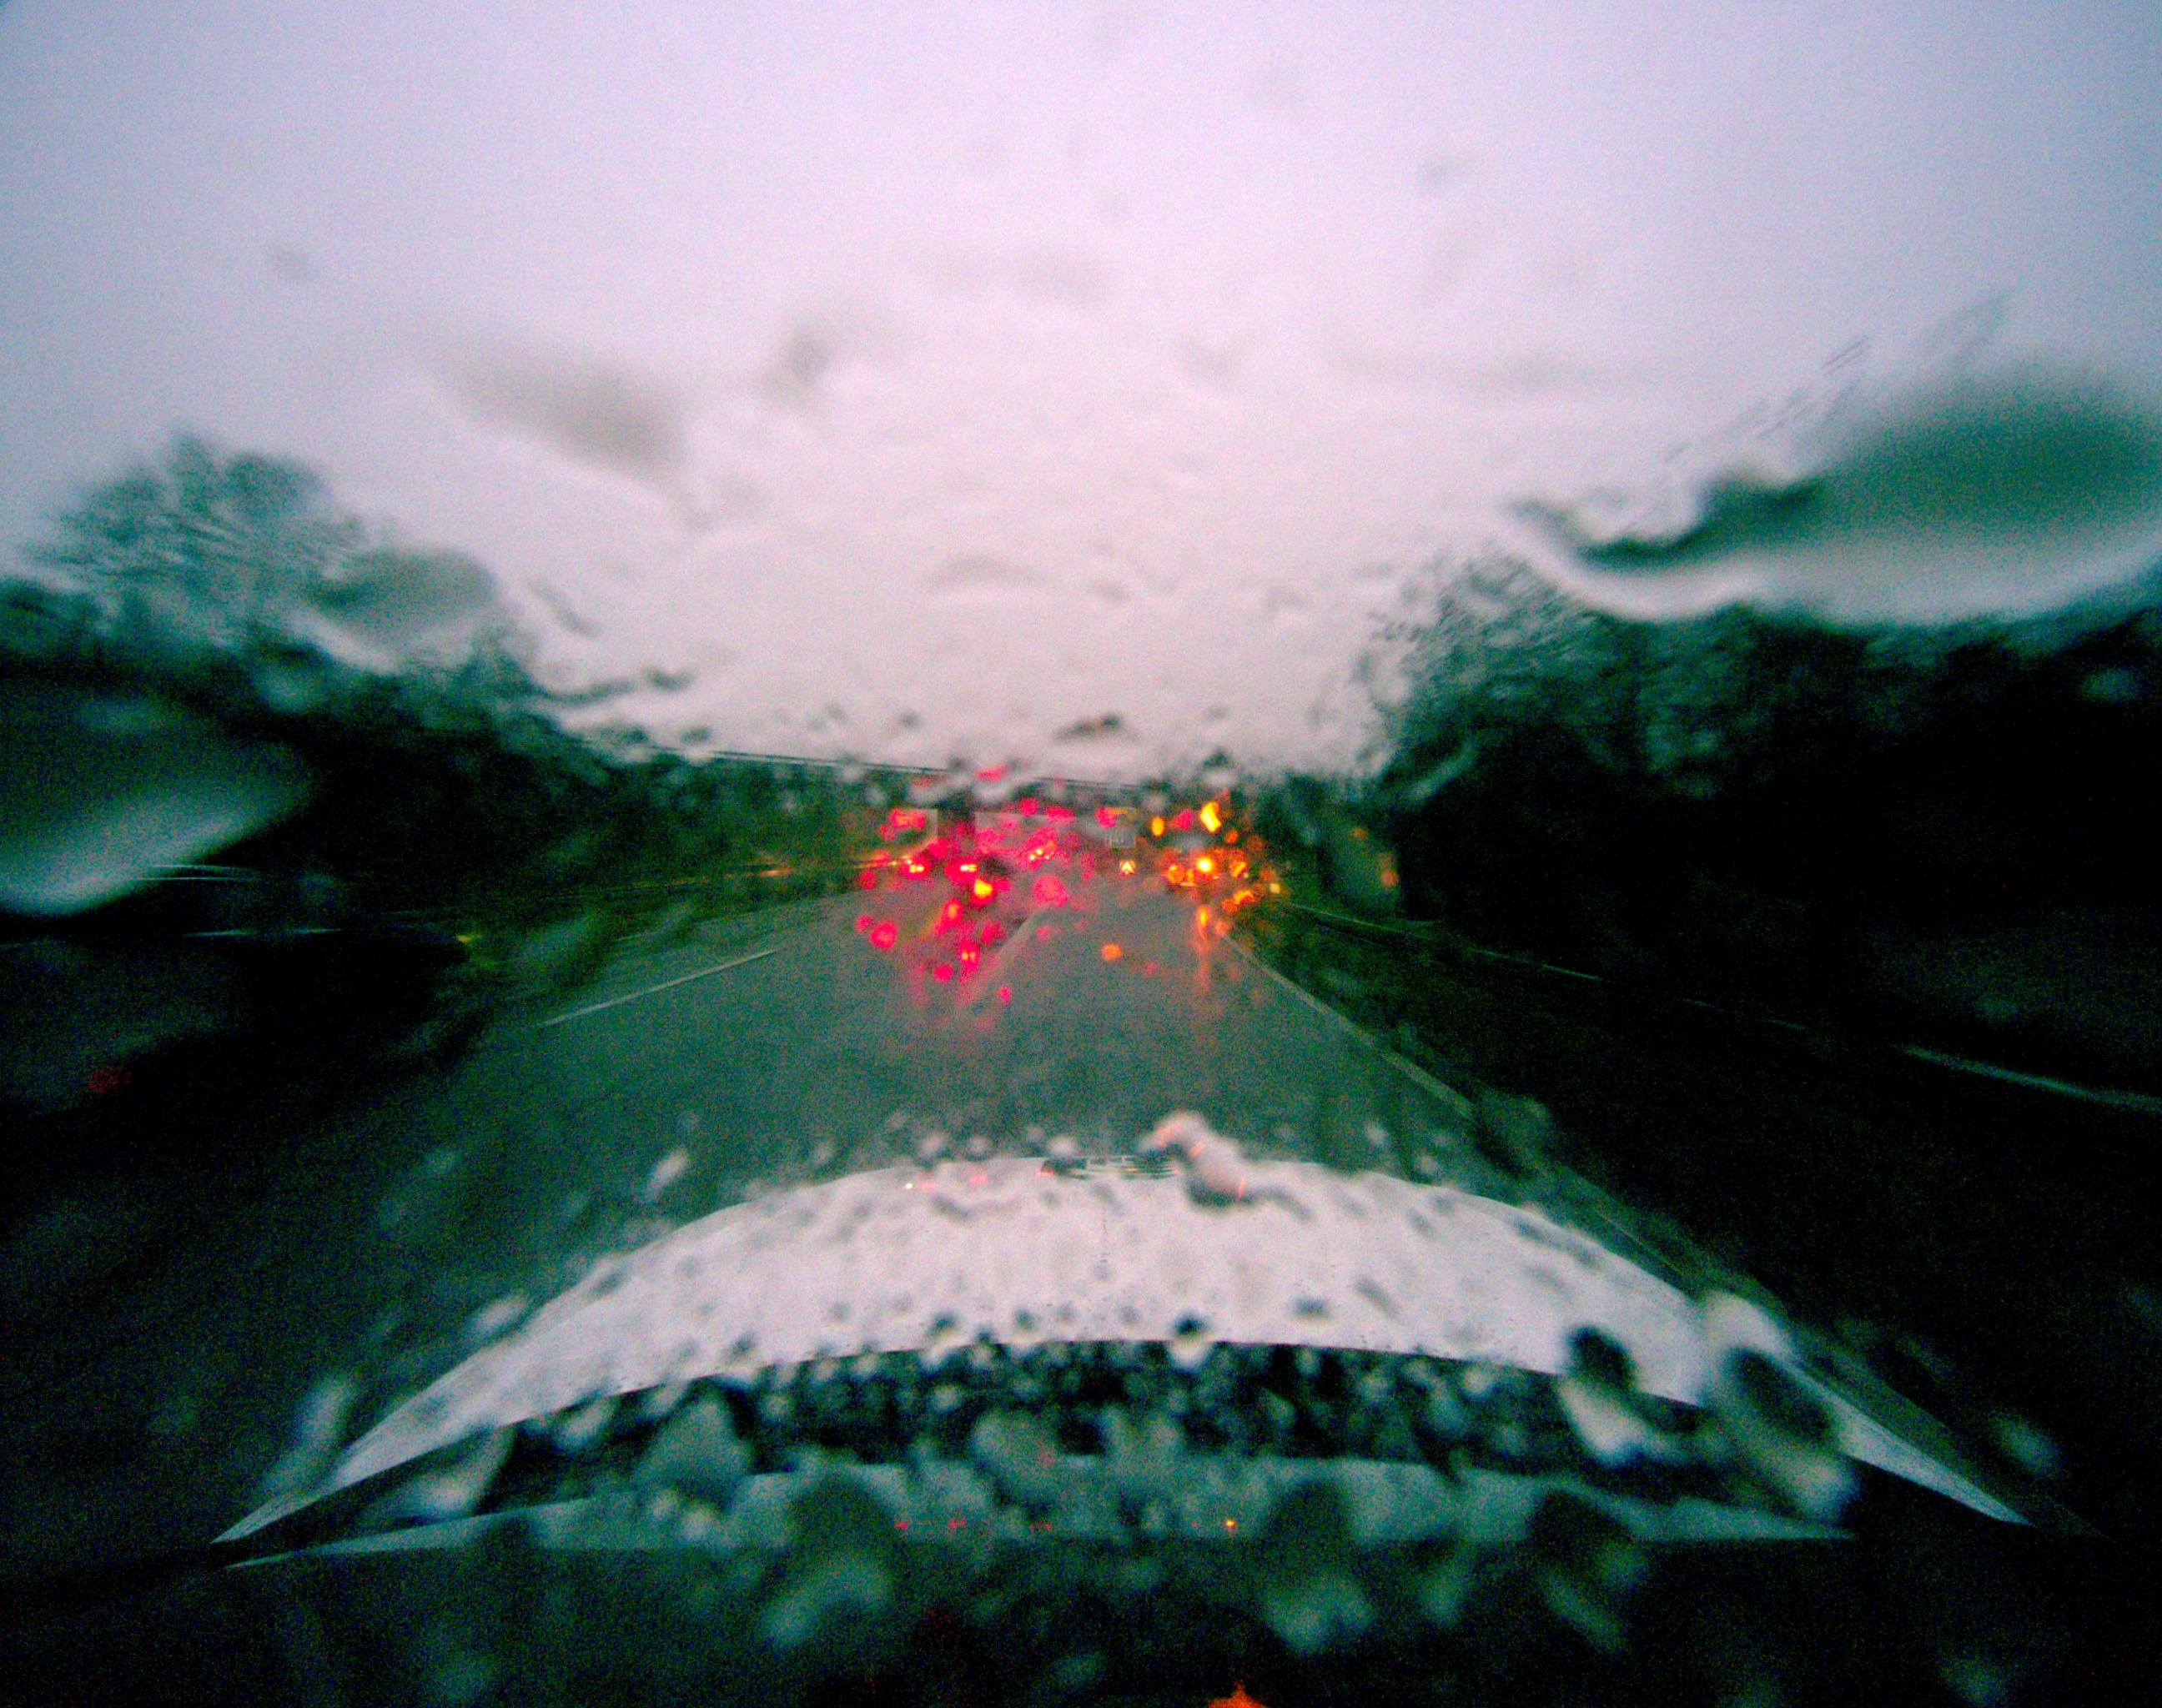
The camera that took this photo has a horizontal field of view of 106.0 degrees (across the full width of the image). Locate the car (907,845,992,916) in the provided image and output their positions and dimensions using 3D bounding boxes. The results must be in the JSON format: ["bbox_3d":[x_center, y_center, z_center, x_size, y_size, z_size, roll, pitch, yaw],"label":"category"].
[{"bbox_3d":[-3.426,0.617,21.817,1.991,1.664,3.991,-1,1,-7],"label":"car"}]

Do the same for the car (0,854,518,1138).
[{"bbox_3d":[-6.701,0.837,6.082,1.792,1.467,4.413,-5,1,0],"label":"car"}]

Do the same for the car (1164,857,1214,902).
[{"bbox_3d":[4.125,0.945,31.476,1.723,1.429,3.772,-4,1,6],"label":"car"}]

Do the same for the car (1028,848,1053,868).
[{"bbox_3d":[-3.574,0.354,72.093,1.871,1.617,3.877,0,2,2],"label":"car"}]
